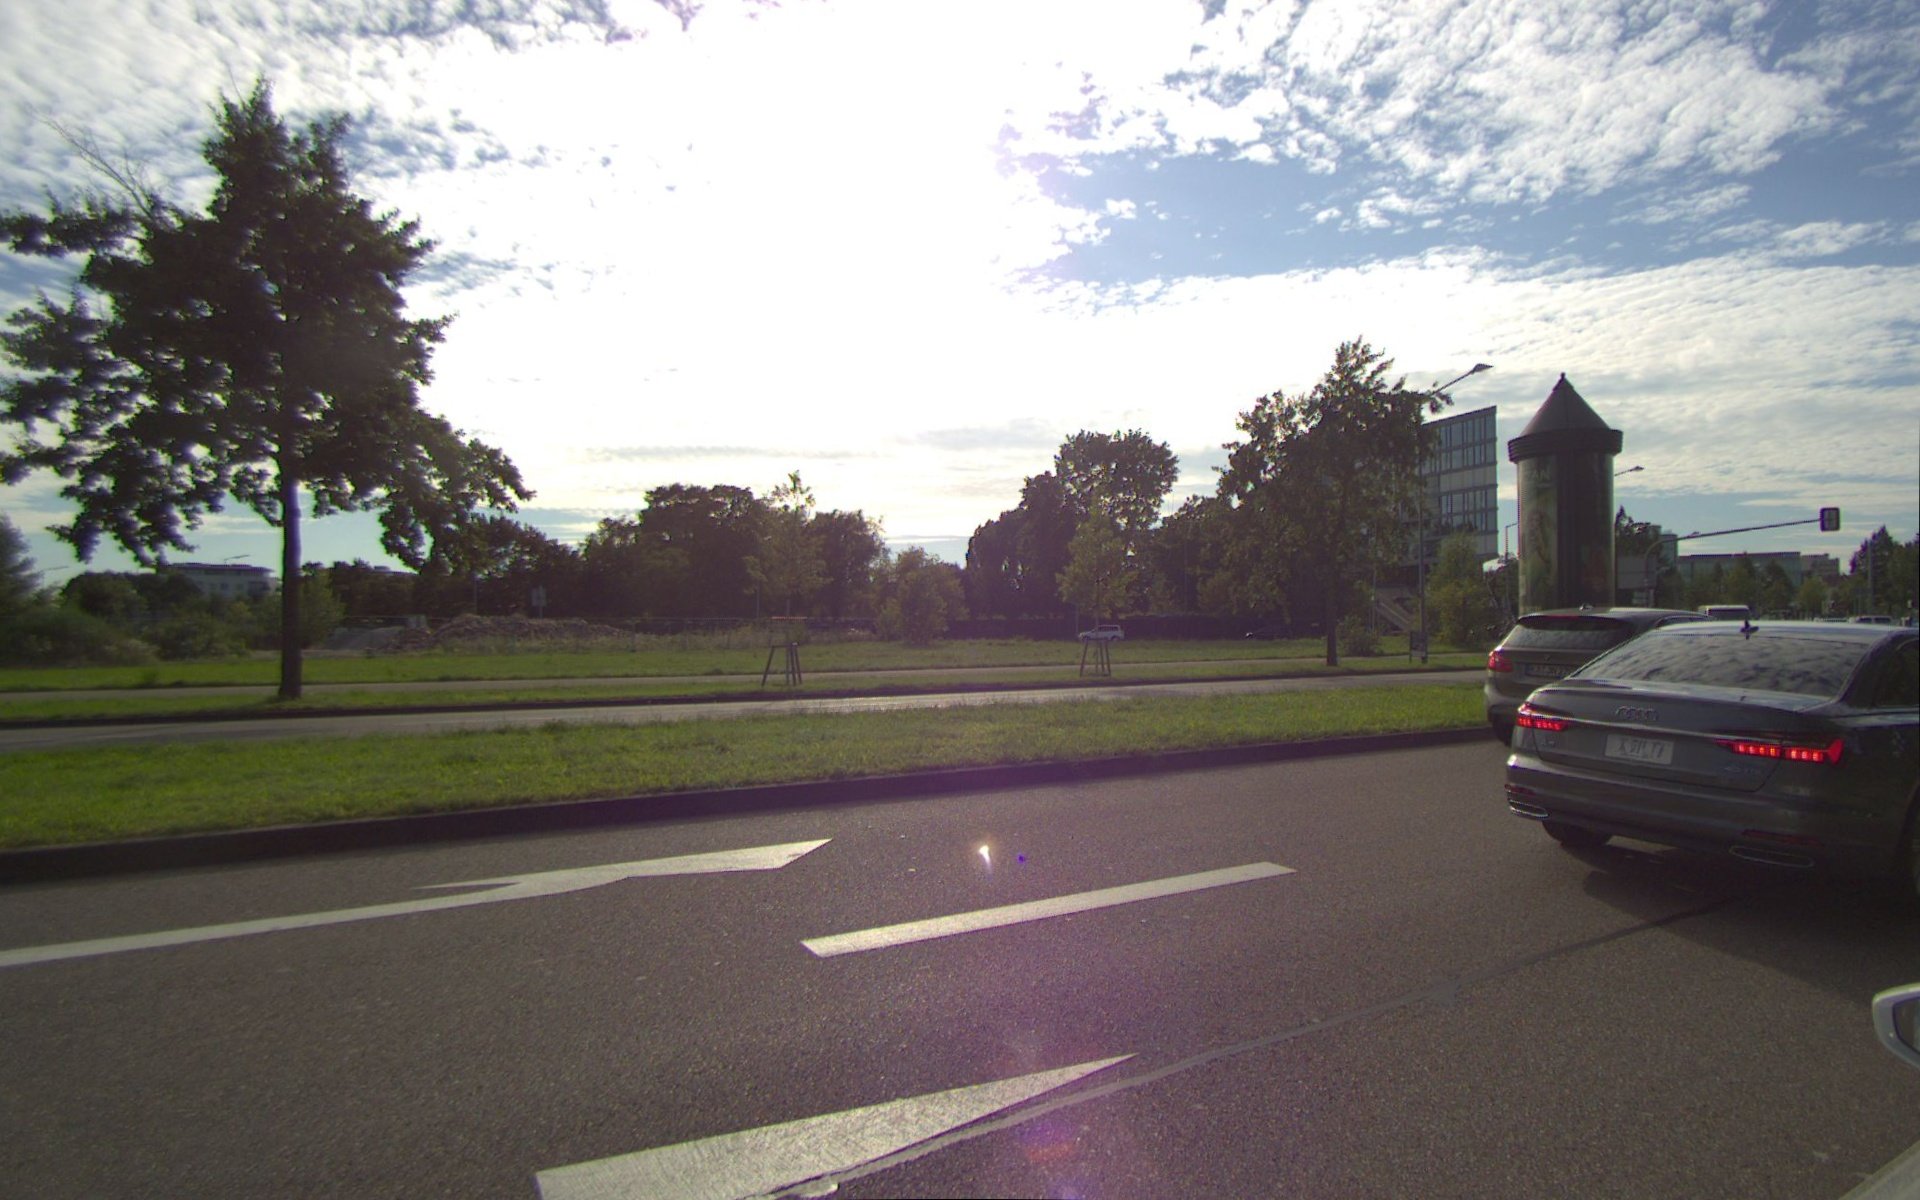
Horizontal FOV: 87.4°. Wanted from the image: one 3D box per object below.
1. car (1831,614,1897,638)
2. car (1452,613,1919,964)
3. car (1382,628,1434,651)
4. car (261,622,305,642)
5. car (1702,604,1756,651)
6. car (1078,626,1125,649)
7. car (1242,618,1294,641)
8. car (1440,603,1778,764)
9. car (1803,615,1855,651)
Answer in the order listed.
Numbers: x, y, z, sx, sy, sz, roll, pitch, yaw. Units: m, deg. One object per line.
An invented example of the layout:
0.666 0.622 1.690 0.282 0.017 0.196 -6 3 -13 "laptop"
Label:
78.021 2.247 86.697 4.155 2.040 1.827 0 -2 -4 "car"
5.358 0.861 6.368 4.560 1.502 1.880 1 0 -31 "car"
32.037 2.839 71.883 3.134 1.594 1.576 -2 -3 16 "car"
-72.866 3.444 108.097 3.922 2.040 2.000 -1 -2 20 "car"
39.590 1.456 51.829 1.968 2.264 5.904 -3 -3 36 "car"
12.176 3.228 86.422 3.919 1.825 2.001 1 -1 9 "car"
25.537 2.456 83.400 3.919 1.750 1.850 -2 -2 13 "car"
7.549 0.837 11.605 3.972 1.579 1.721 1 0 -31 "car"
41.233 1.576 47.730 1.684 1.594 3.982 -3 -3 39 "car"
